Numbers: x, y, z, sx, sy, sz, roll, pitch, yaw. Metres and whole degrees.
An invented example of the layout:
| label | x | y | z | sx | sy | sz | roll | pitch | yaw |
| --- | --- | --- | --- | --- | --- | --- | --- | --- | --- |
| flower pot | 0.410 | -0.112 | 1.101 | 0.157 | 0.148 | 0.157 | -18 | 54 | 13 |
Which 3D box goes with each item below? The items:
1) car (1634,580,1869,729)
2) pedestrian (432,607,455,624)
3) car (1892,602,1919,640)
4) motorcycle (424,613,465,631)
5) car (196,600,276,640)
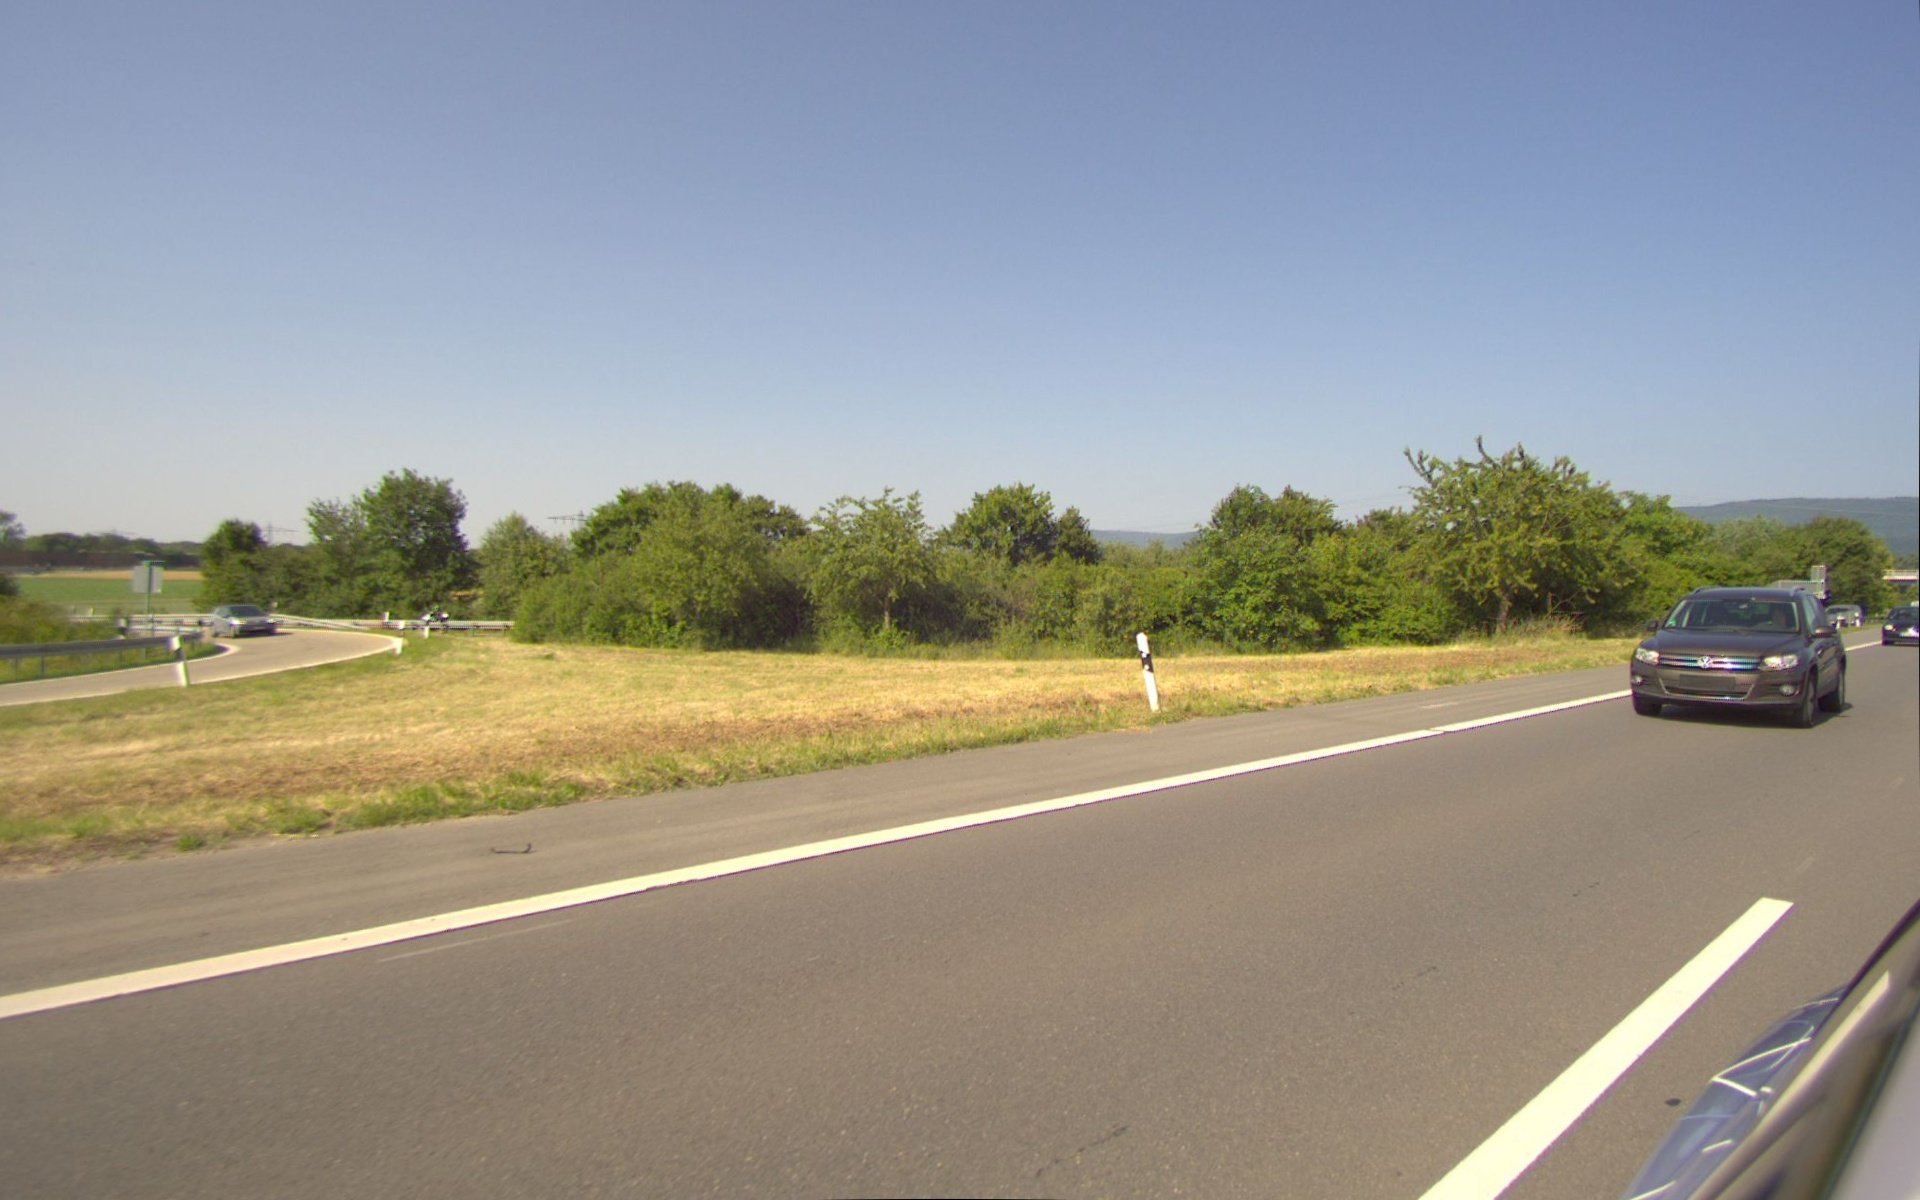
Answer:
| label | x | y | z | sx | sy | sz | roll | pitch | yaw |
| --- | --- | --- | --- | --- | --- | --- | --- | --- | --- |
| car | 10.496 | 0.574 | 13.315 | 4.077 | 1.667 | 1.788 | -1 | 1 | -42 |
| pedestrian | -32.217 | 0.963 | 63.128 | 1.118 | 1.057 | 0.688 | 0 | 0 | 11 |
| car | 35.126 | 0.738 | 36.796 | 3.934 | 1.264 | 1.598 | -1 | 0 | -44 |
| motorcycle | -32.162 | 1.365 | 63.114 | 2.338 | 1.057 | 0.688 | 0 | 0 | 11 |
| car | -34.834 | 0.911 | 48.662 | 3.973 | 1.686 | 1.843 | 1 | 4 | 35 |
